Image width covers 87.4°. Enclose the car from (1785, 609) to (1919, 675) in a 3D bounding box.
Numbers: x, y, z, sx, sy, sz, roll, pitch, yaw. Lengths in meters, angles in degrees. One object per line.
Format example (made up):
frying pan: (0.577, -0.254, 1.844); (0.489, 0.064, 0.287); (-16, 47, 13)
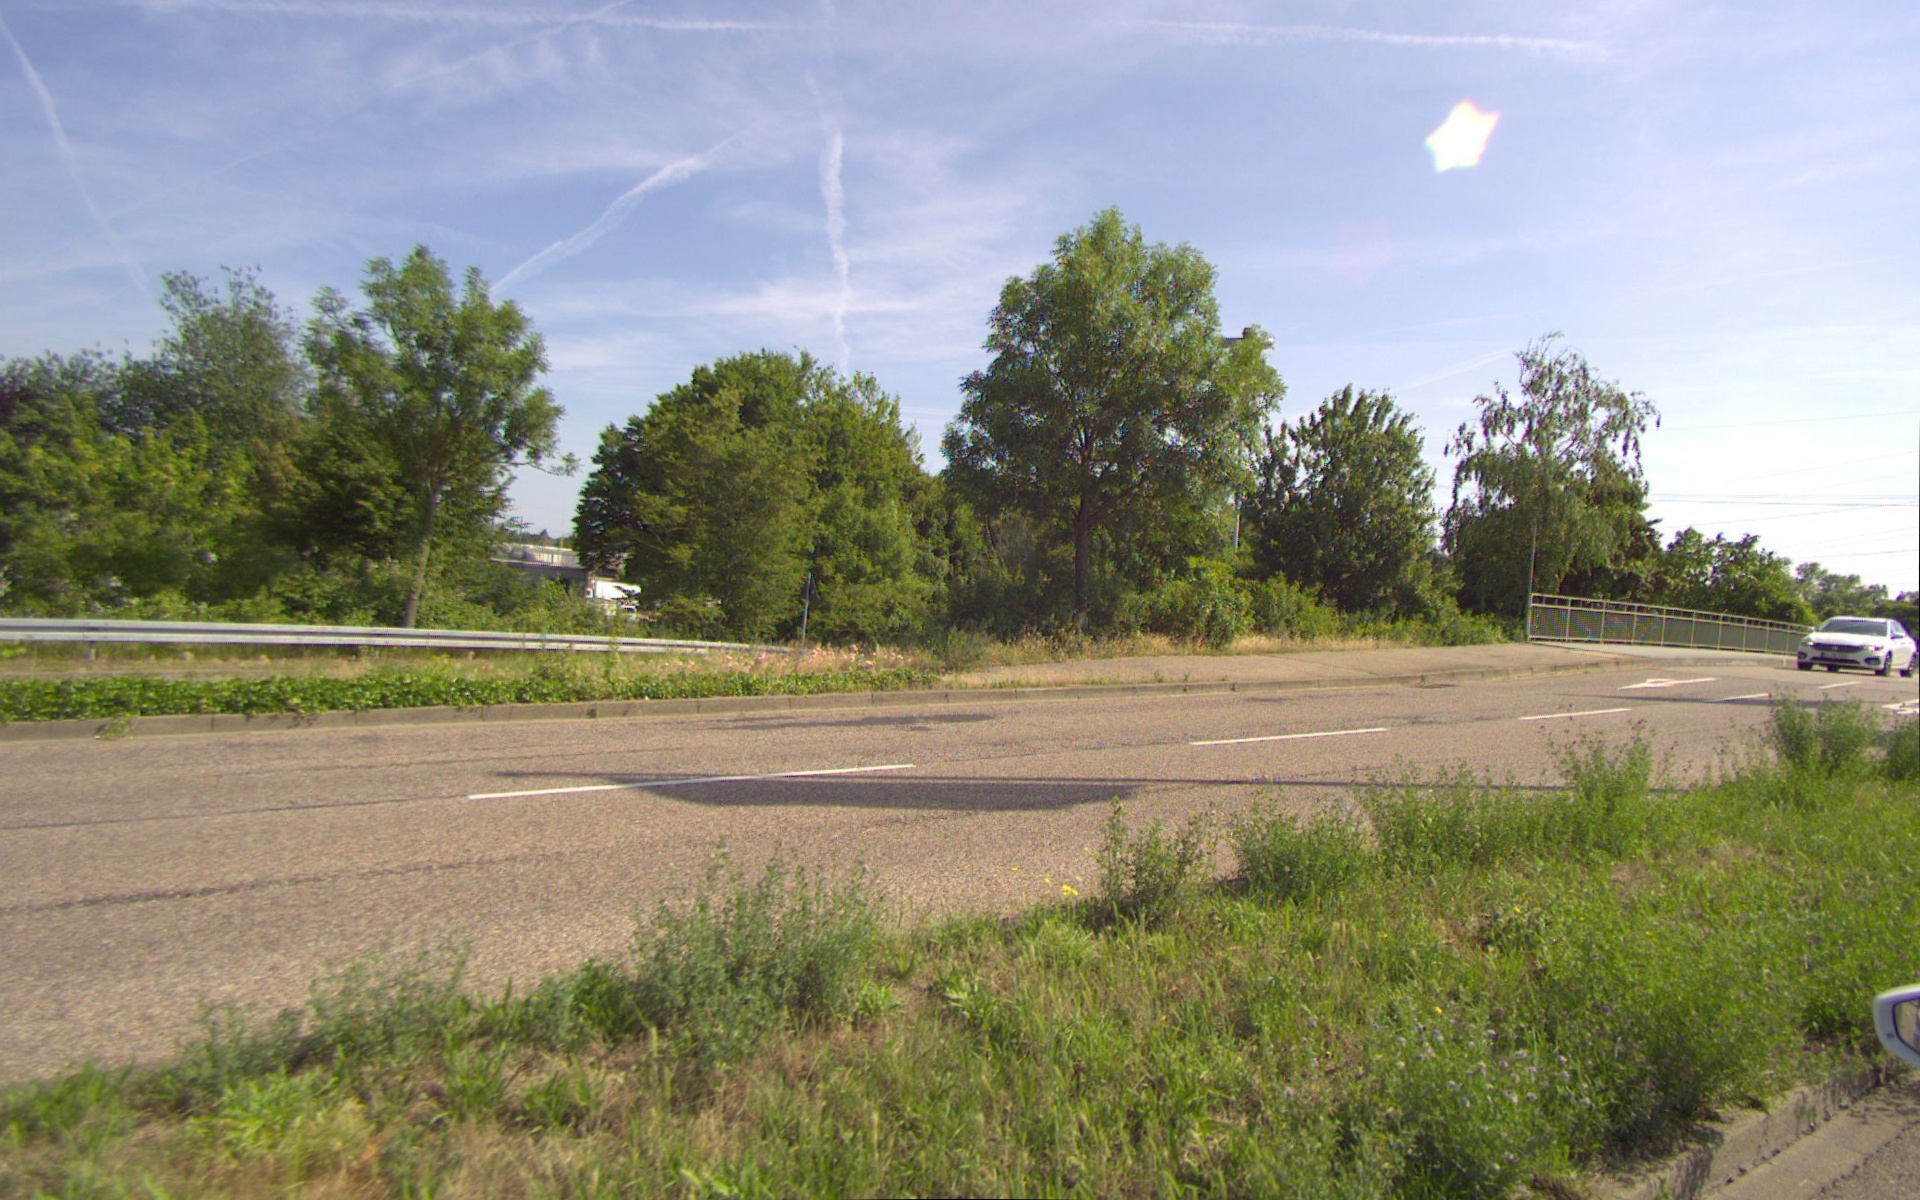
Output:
car: (23.433, 1.106, 26.347); (3.961, 1.571, 1.785); (2, 0, -35)
